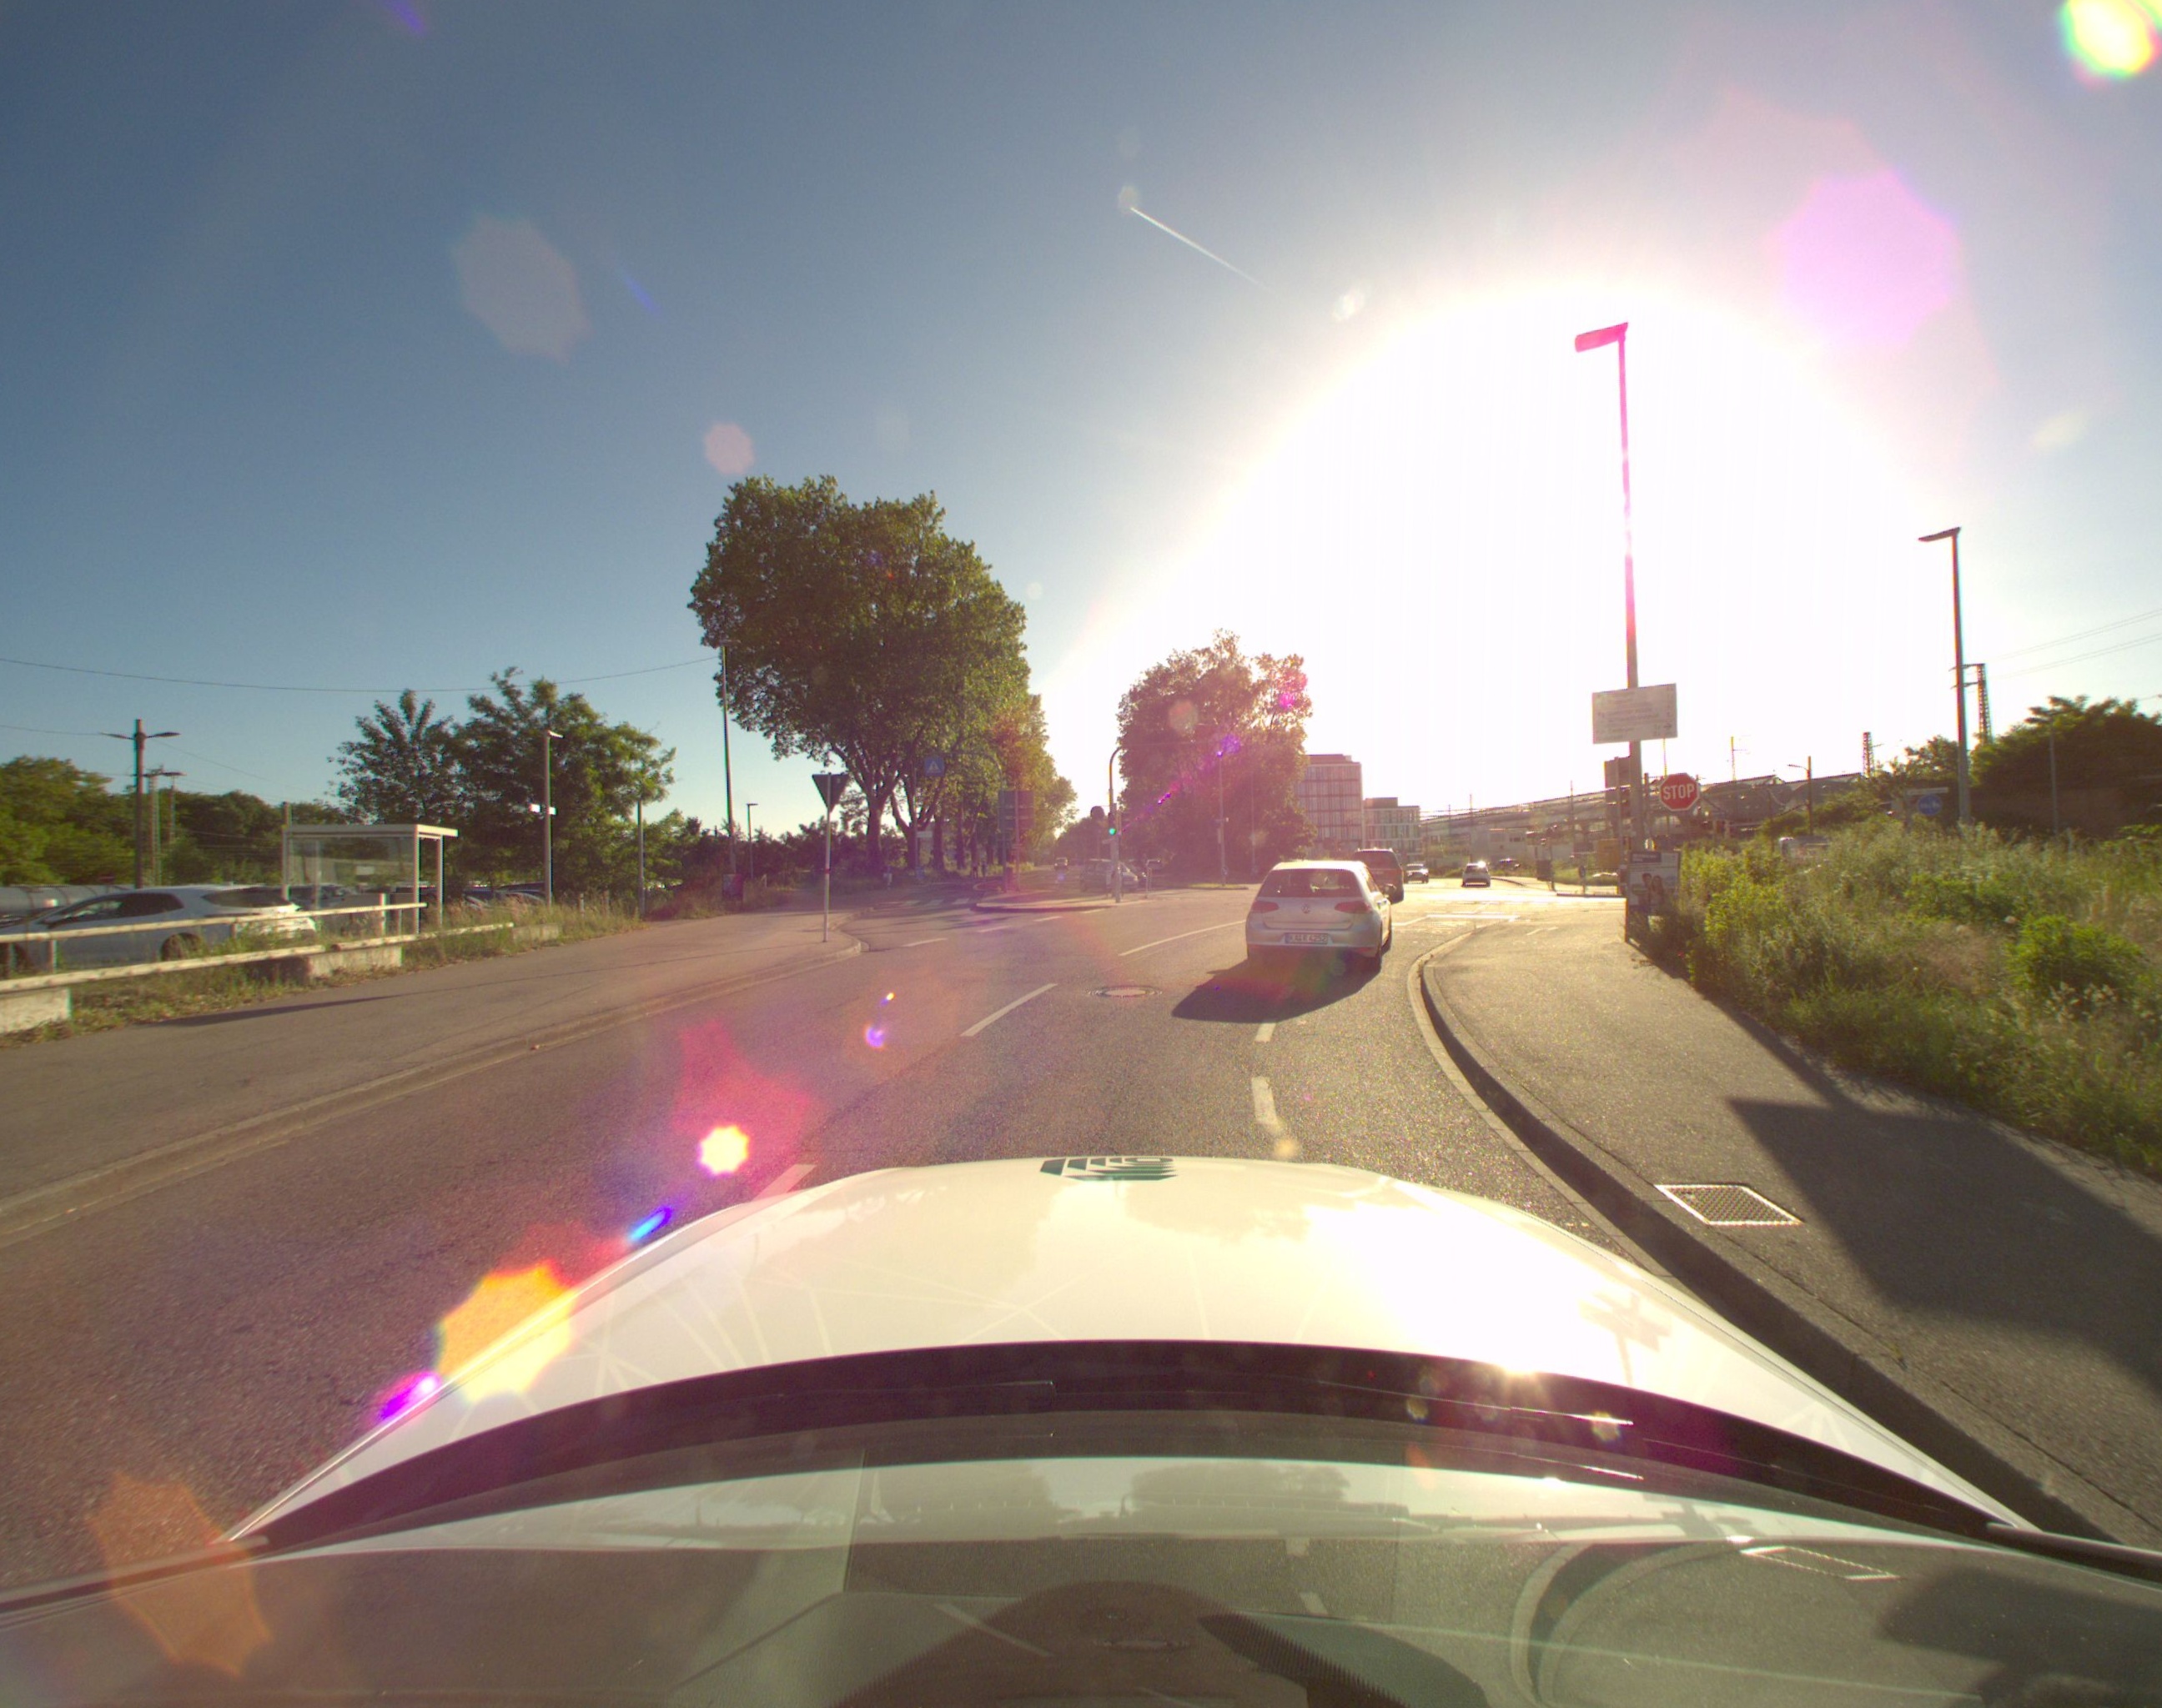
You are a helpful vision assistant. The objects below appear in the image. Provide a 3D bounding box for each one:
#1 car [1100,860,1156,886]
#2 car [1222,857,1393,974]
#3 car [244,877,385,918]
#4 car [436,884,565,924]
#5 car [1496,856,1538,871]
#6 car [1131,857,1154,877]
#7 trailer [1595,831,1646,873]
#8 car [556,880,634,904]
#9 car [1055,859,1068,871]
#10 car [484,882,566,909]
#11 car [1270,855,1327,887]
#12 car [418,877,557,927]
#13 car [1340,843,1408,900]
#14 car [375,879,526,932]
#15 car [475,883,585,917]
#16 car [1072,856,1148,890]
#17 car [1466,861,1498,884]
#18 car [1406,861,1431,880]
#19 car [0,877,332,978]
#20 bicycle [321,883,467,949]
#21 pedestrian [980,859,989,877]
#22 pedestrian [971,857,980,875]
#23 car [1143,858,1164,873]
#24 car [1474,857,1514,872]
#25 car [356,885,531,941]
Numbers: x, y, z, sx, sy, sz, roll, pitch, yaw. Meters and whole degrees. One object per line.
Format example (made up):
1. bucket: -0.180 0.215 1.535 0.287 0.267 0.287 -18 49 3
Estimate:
1. car: 2.736 1.094 47.995 1.909 1.427 3.910 0 -1 -20
2. car: 3.514 0.770 12.088 1.953 1.427 3.958 -1 -1 22
3. car: -37.981 2.149 40.422 4.989 1.838 2.201 -1 -1 2
4. car: -23.694 2.009 33.404 4.002 1.459 1.717 -1 -1 -21
5. car: 50.469 1.110 94.354 3.965 1.706 1.619 0 -1 8
6. car: 5.659 1.220 75.453 1.848 1.743 4.265 -1 -1 0
7. trailer: 44.261 -0.085 66.977 2.967 3.292 6.708 -1 -1 29
8. car: -38.445 2.990 64.522 4.932 1.764 1.998 -1 -1 -2
9. car: -2.911 1.600 121.679 1.848 1.743 4.263 -1 -1 -1
10. car: -37.815 2.823 55.463 4.132 1.706 1.977 -1 -1 -3
11. car: 12.163 0.925 45.828 1.937 1.713 4.196 -1 -1 -2
12. car: -22.472 1.772 31.028 4.008 1.683 1.825 -1 -1 -26
13. car: 10.565 0.605 29.538 2.095 1.887 4.835 -1 -1 18
14. car: -22.031 1.752 28.656 3.859 1.665 1.996 -1 -1 -26
15. car: -26.942 2.232 39.944 3.984 1.475 1.995 -1 -1 -8
16. car: 1.418 0.936 41.528 1.927 1.636 4.080 0 -1 -32
17. car: 27.422 1.224 55.640 1.731 1.476 4.024 -1 -1 29
18. car: 27.504 1.320 66.428 1.733 1.476 4.021 -1 -1 22
19. car: -15.961 1.198 13.981 4.253 1.511 1.888 -1 -1 -5
20. bicycle: -19.024 1.665 22.674 0.894 1.616 2.974 -1 -1 32
21. pedestrian: -8.621 1.256 72.763 0.725 1.592 0.804 -1 -1 1
22. pedestrian: -9.469 1.070 72.938 0.661 1.586 0.631 -1 -1 1
23. car: 8.192 1.280 92.456 1.849 1.650 4.261 -1 -1 -3
24. car: 49.881 1.257 98.369 3.965 1.788 1.659 0 -1 8
25. car: -19.913 1.802 25.692 4.008 1.481 1.947 -1 -1 -26
